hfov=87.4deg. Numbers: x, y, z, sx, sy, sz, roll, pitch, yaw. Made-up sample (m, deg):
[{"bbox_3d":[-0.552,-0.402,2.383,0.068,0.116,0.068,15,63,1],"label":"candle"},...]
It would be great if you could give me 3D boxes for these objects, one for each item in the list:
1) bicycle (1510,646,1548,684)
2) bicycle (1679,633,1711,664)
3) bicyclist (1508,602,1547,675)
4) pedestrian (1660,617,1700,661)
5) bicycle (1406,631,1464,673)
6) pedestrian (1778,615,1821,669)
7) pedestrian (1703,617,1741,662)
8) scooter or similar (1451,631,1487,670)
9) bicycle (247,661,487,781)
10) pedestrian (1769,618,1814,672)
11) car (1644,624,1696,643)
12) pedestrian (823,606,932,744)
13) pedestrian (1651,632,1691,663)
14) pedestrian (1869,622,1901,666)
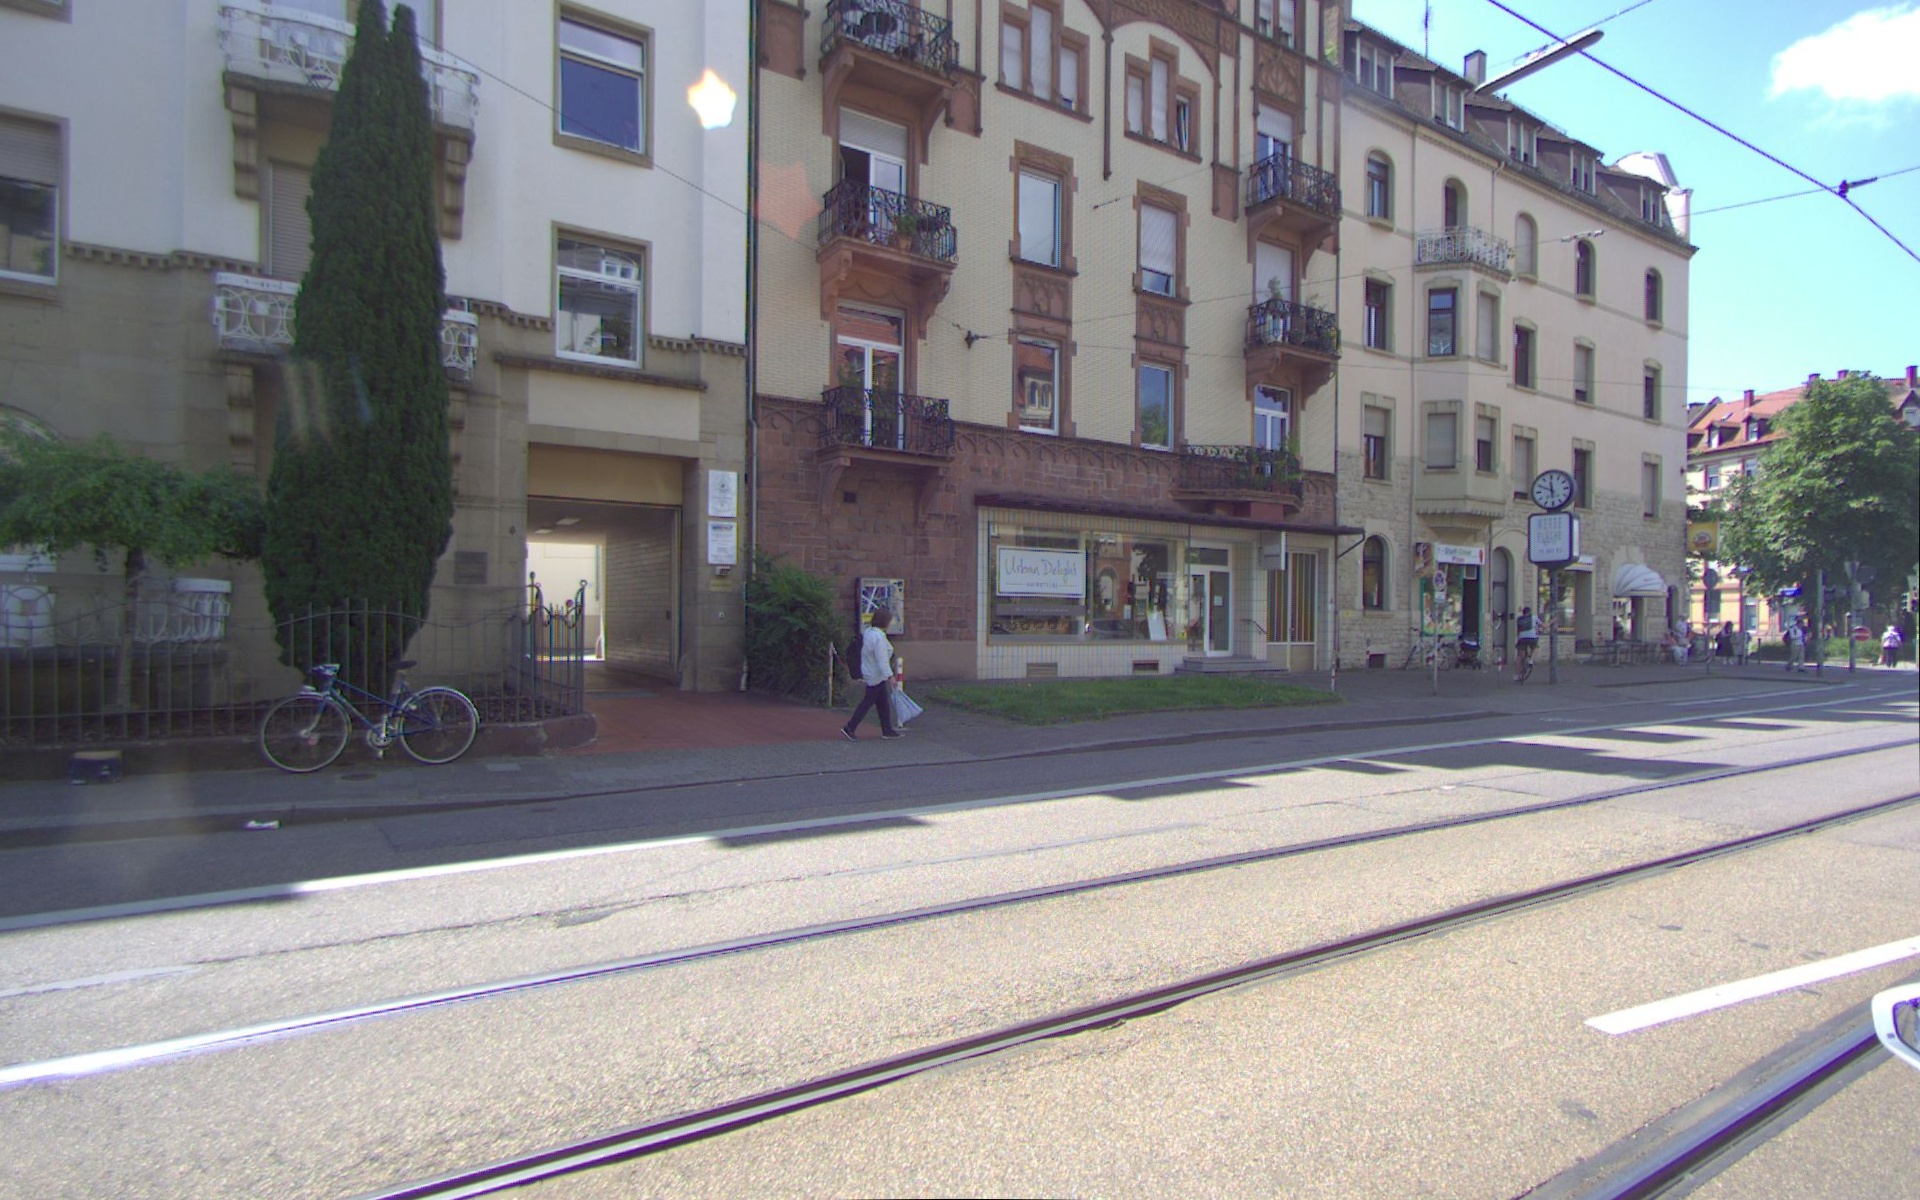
[{"bbox_3d":[13.778,1.549,24.315,0.741,0.828,1.816,0,-1,31],"label":"bicycle"},{"bbox_3d":[27.844,1.848,38.058,0.534,1.143,1.683,1,-3,20],"label":"bicycle"},{"bbox_3d":[13.732,0.918,24.306,0.745,1.685,0.829,2,0,30],"label":"bicyclist"},{"bbox_3d":[26.493,1.423,36.978,0.797,1.616,0.916,1,-1,-19],"label":"pedestrian"},{"bbox_3d":[13.002,1.419,27.492,1.438,1.080,0.370,2,0,-9],"label":"bicycle"},{"bbox_3d":[30.460,1.499,36.451,1.152,1.916,0.895,1,-1,-33],"label":"pedestrian"},{"bbox_3d":[28.745,1.476,37.912,0.846,1.657,1.027,0,-1,16],"label":"pedestrian"},{"bbox_3d":[14.557,1.438,28.752,0.682,1.058,1.210,2,0,17],"label":"scooter or similar"},{"bbox_3d":[-5.351,1.065,9.156,1.821,0.973,0.408,2,2,-33],"label":"bicycle"},{"bbox_3d":[27.784,1.487,33.571,0.762,1.756,0.860,1,1,-13],"label":"pedestrian"},{"bbox_3d":[59.877,2.802,84.782,1.653,1.491,3.467,1,-1,-7],"label":"car"},{"bbox_3d":[-0.991,0.858,12.040,0.975,1.563,0.894,1,-1,-36],"label":"pedestrian"},{"bbox_3d":[25.215,1.672,35.635,0.873,1.092,0.911,1,-1,-31],"label":"pedestrian"},{"bbox_3d":[37.640,1.766,40.877,0.905,1.746,0.836,0,-1,40],"label":"pedestrian"}]
